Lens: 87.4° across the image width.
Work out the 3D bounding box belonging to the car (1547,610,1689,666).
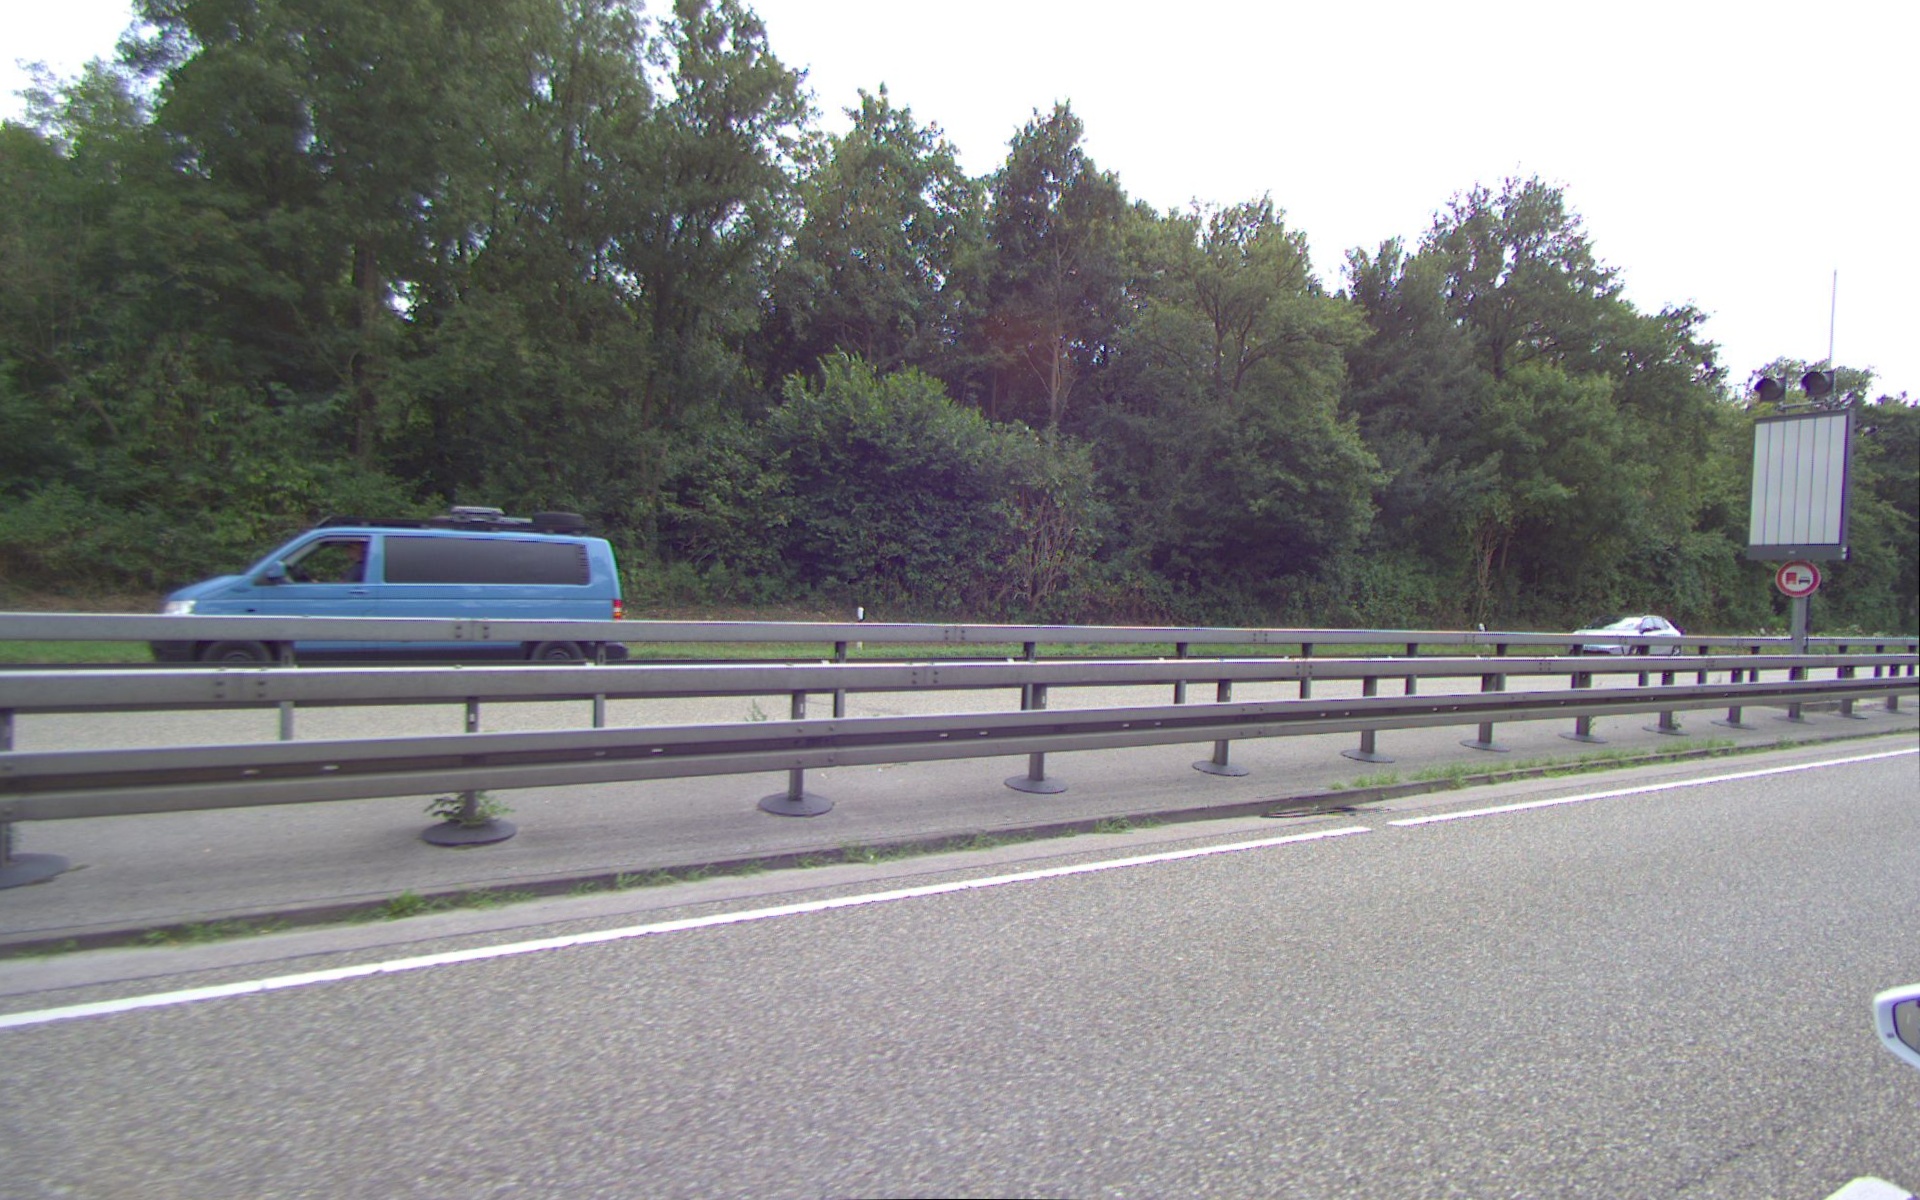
[{"bbox_3d":[19.304,1.101,29.444,4.087,1.501,1.982,2,-1,-33],"label":"car"}]

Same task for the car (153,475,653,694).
[{"bbox_3d":[-6.875,-0.094,12.994,5.243,2.352,1.926,2,-1,-30],"label":"car"}]
